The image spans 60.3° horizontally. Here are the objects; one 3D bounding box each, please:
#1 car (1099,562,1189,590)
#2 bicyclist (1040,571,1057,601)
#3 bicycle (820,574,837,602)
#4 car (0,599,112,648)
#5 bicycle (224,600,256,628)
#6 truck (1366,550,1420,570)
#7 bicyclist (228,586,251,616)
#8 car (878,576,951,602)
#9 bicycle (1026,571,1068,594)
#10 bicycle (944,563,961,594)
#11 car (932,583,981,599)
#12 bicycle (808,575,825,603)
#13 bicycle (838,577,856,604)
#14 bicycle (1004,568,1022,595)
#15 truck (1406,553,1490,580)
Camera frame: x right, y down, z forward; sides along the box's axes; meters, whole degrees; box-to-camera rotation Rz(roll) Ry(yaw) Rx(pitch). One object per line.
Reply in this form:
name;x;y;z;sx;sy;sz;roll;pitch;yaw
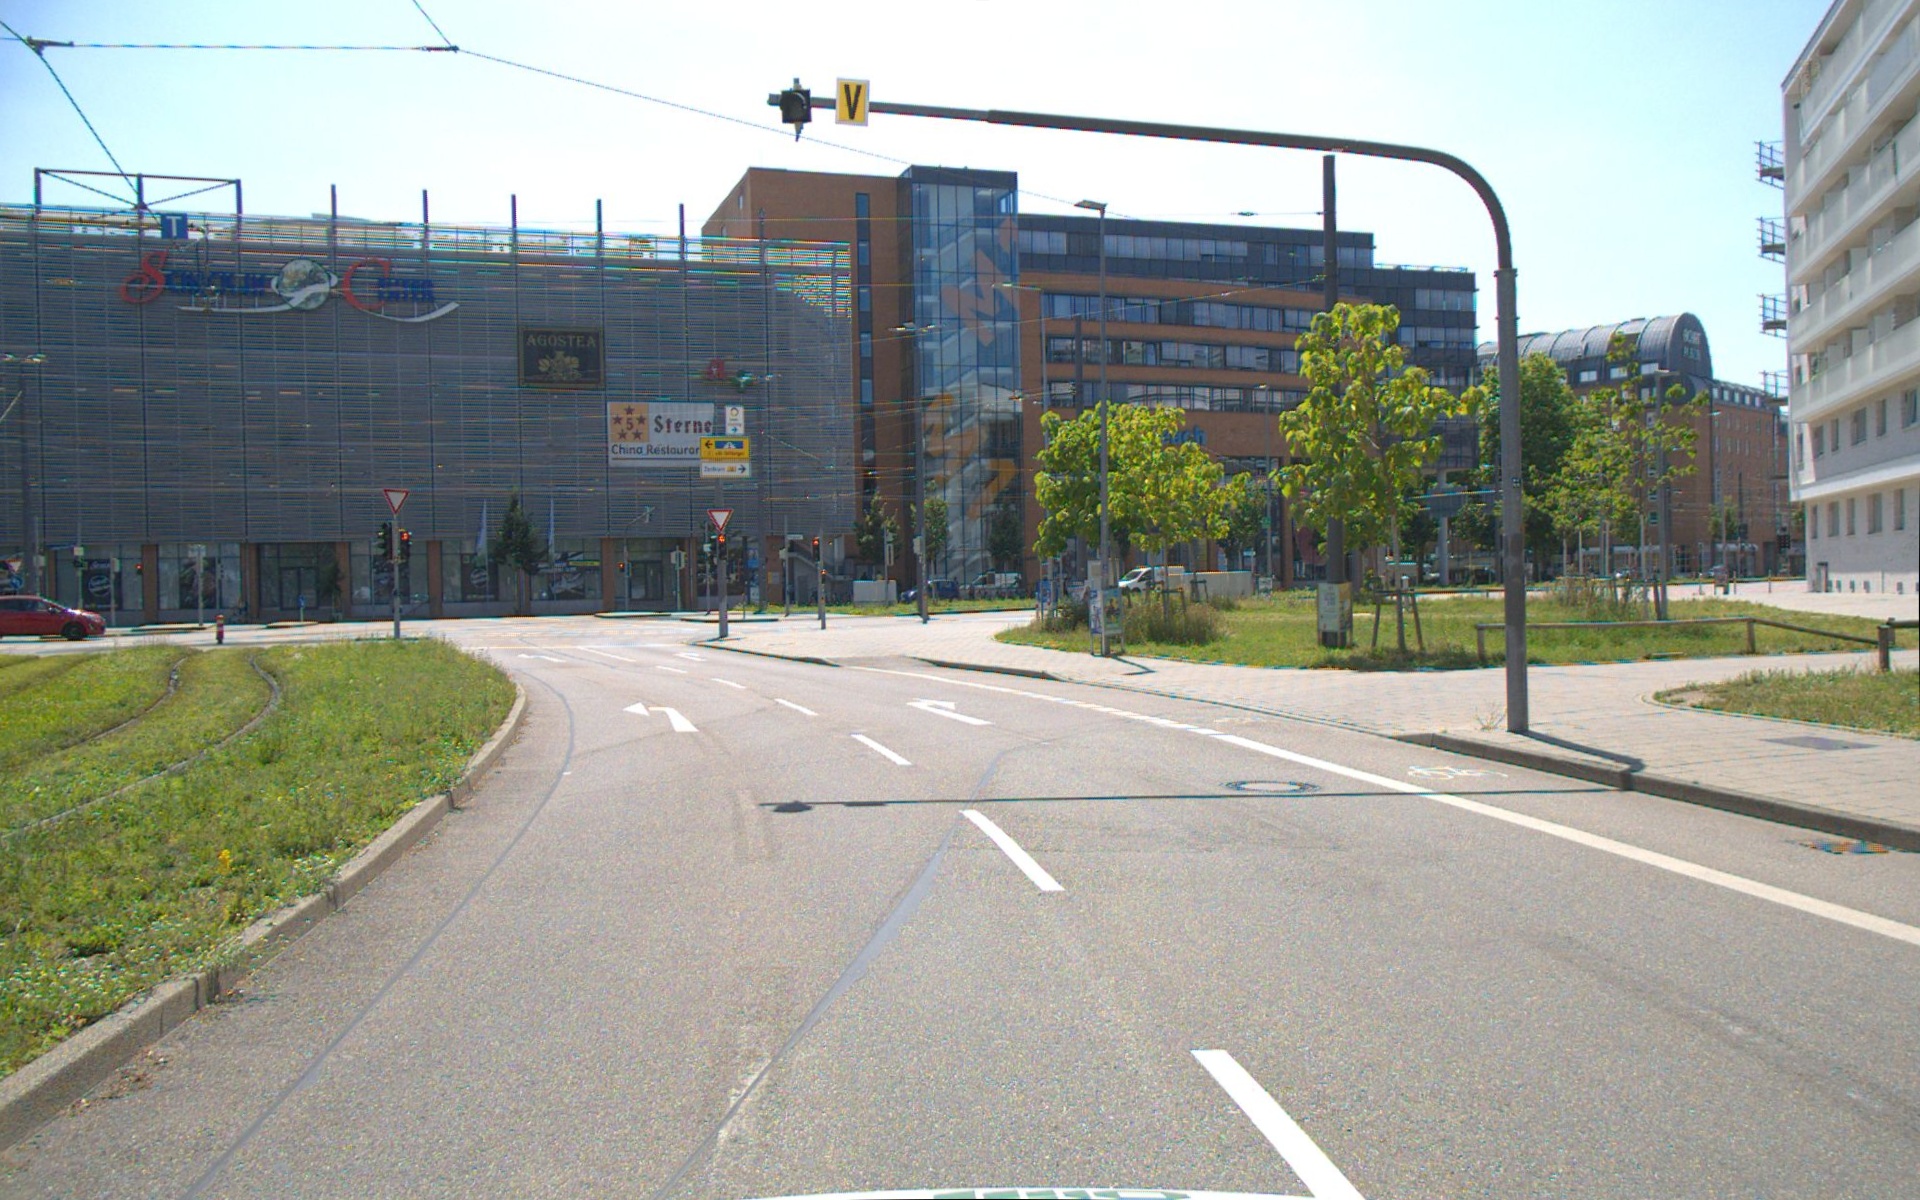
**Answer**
car;11.486;-1.500;103.175;5.395;1.697;1.984;-1;1;-26
bicyclist;6.114;-0.989;114.230;0.898;2.049;0.744;-1;1;-19
bicycle;-8.646;-0.794;108.525;0.589;1.761;2.248;-1;1;-19
car;-30.234;0.761;54.359;4.071;1.534;1.829;-1;1;-24
bicycle;-39.034;0.739;89.739;1.043;1.414;3.014;-1;1;-13
truck;45.021;-4.115;172.175;1.868;2.049;5.291;-1;1;-45
bicyclist;-38.970;0.033;89.437;1.022;1.599;0.775;-1;1;-14
car;-2.622;-0.649;95.292;3.930;1.467;1.733;-1;1;-22
bicycle;6.018;-1.232;114.256;2.805;1.584;0.701;-1;1;-18
bicycle;-0.519;-1.465;112.624;0.477;2.049;2.335;-1;1;-18
car;-0.242;-0.615;109.839;2.953;1.053;1.340;-1;1;-23
bicycle;-9.418;-0.737;108.216;0.589;1.761;2.248;-1;1;-19
bicycle;-7.412;-0.657;108.516;0.589;1.761;2.248;-1;1;-19
bicycle;3.659;-1.277;113.977;0.477;1.828;2.248;-1;1;-18
truck;52.235;-3.548;177.206;1.982;2.858;9.105;-1;1;-40
